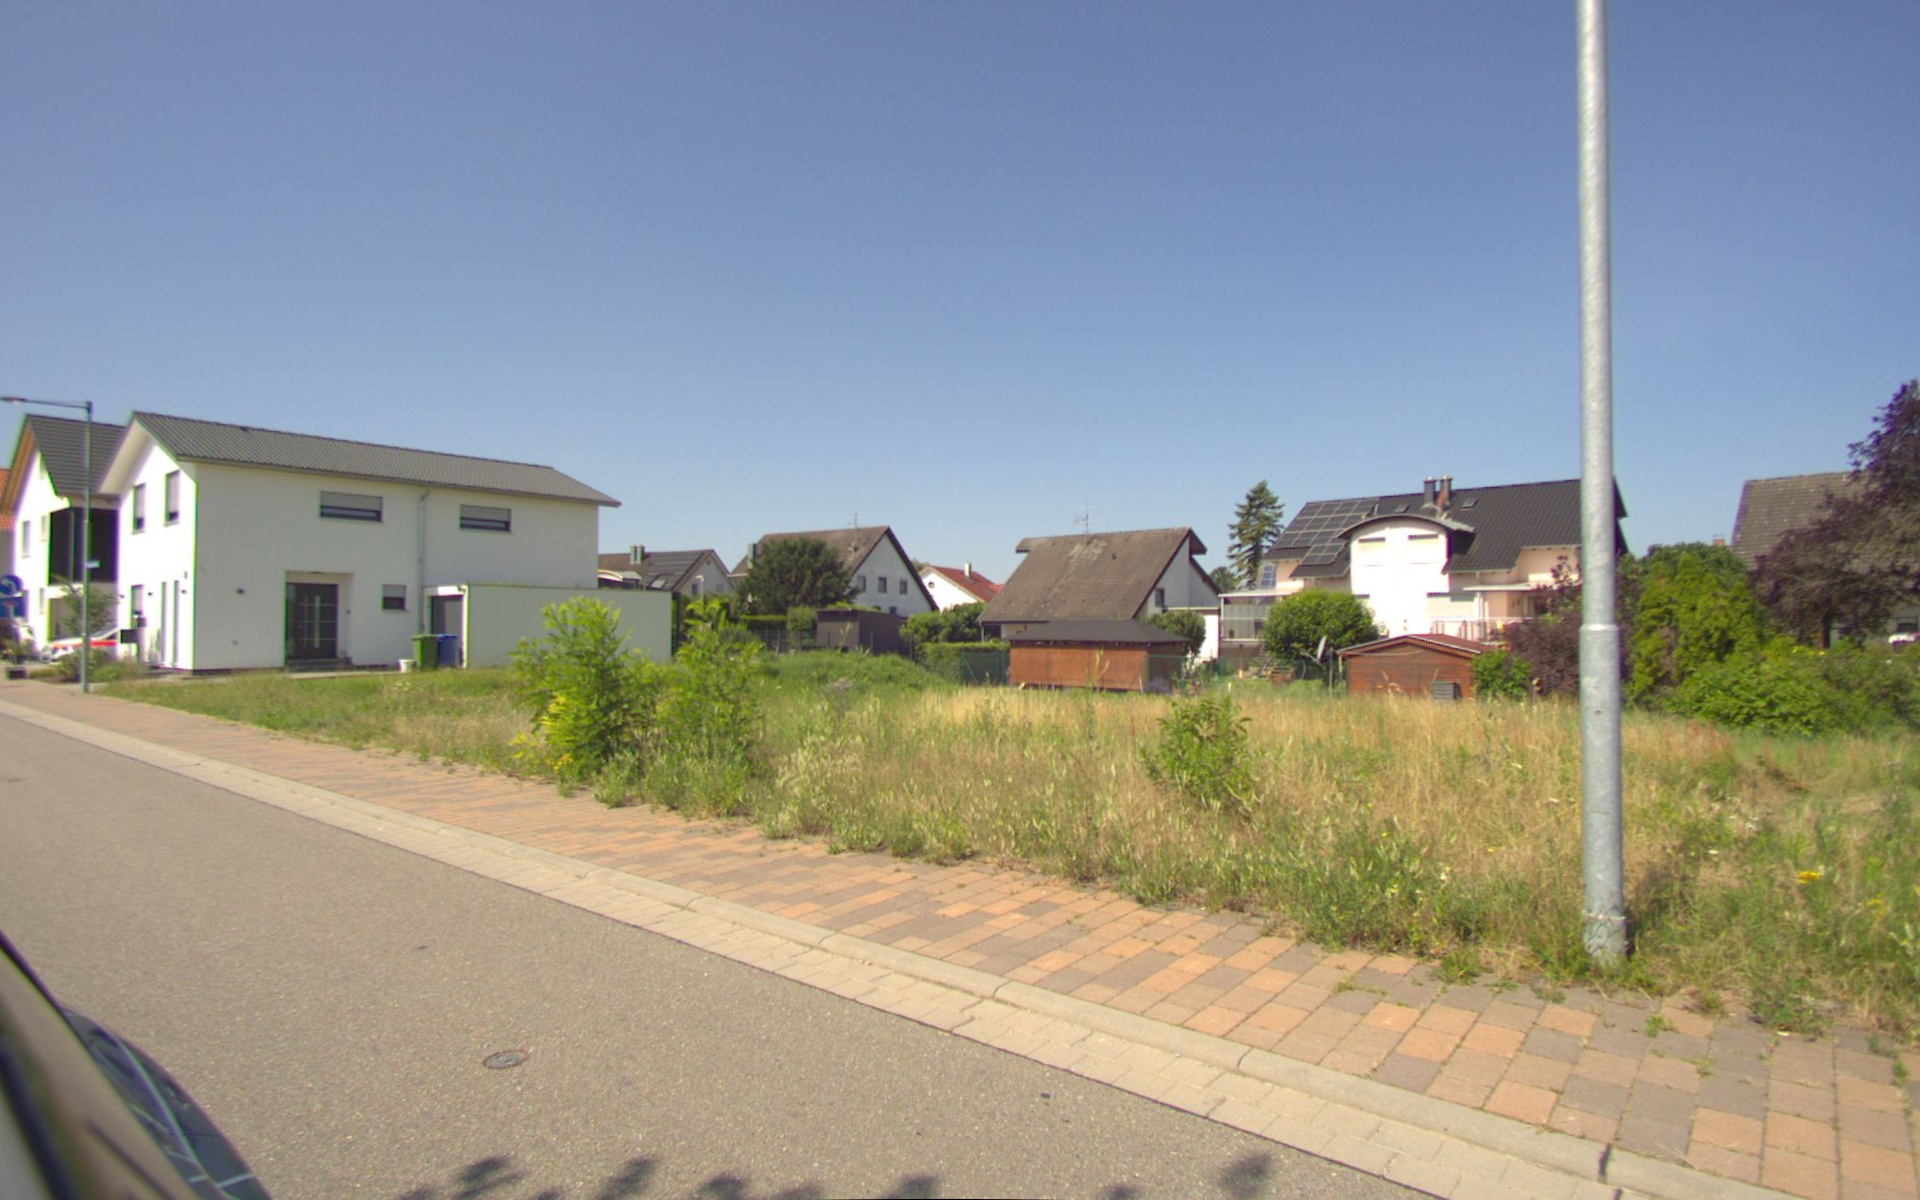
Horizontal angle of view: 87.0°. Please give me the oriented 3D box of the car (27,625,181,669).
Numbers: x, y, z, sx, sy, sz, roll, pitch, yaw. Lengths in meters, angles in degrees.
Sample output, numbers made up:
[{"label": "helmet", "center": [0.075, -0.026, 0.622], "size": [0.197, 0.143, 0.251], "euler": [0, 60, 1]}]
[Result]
[{"label": "car", "center": [-32.198, 1.758, 38.184], "size": [1.741, 1.574, 4.117], "euler": [-1, -3, 34]}]

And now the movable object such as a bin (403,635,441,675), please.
[{"label": "movable object such as a bin", "center": [-15.189, 1.547, 28.567], "size": [0.784, 1.107, 0.653], "euler": [-1, -3, 39]}]

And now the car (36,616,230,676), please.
[{"label": "car", "center": [-27.594, 1.515, 33.921], "size": [1.935, 1.889, 4.692], "euler": [-1, -2, 37]}]

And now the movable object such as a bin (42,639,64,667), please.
[{"label": "movable object such as a bin", "center": [-35.279, 2.058, 39.372], "size": [0.600, 1.100, 0.494], "euler": [-3, -3, 35]}]

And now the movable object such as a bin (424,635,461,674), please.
[{"label": "movable object such as a bin", "center": [-14.893, 1.561, 29.127], "size": [0.807, 1.107, 0.663], "euler": [-1, -3, 41]}]
